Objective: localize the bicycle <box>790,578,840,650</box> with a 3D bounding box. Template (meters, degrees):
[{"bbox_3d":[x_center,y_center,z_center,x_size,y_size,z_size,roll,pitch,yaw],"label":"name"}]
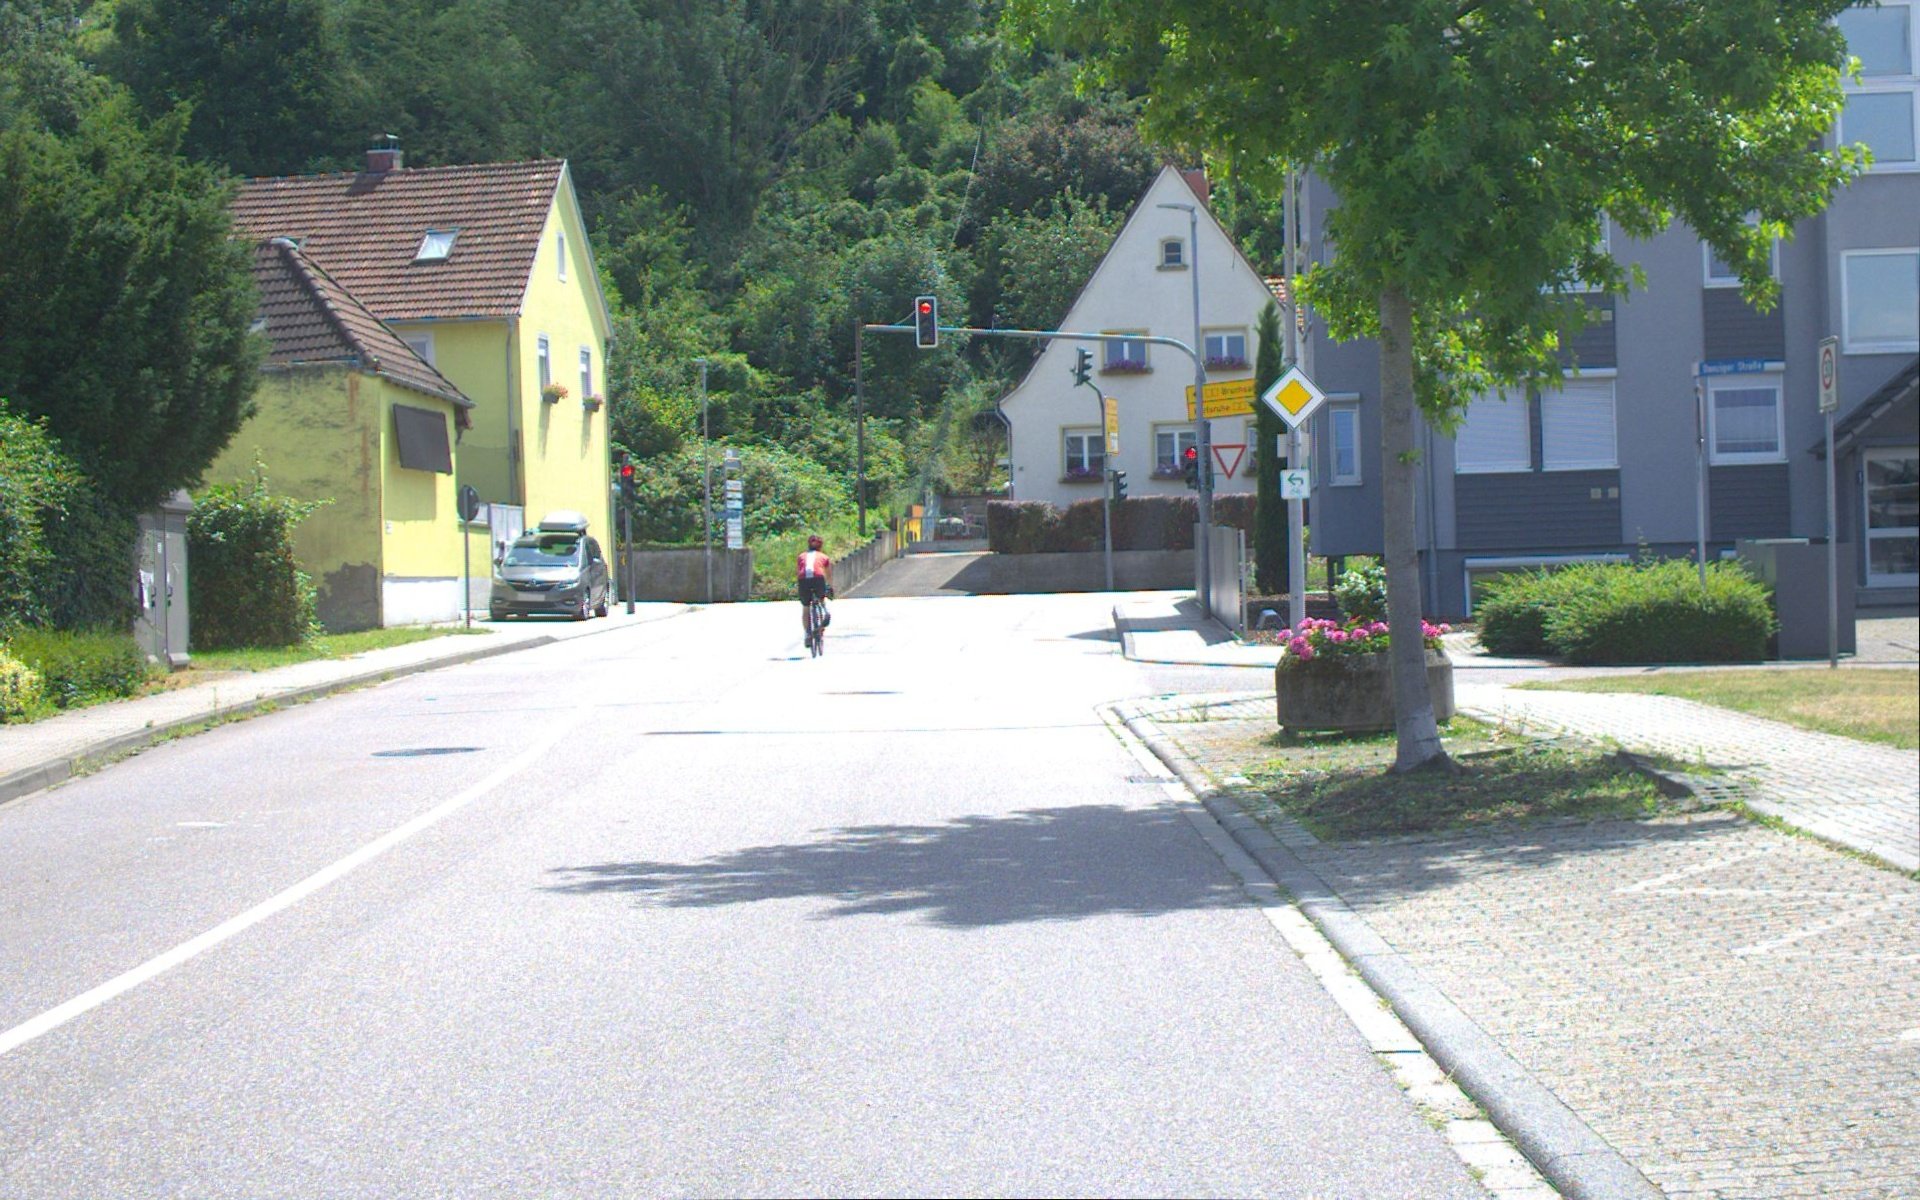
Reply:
[{"bbox_3d":[-1.885,0.170,44.873,0.630,0.902,1.657,0,1,-2],"label":"bicycle"}]

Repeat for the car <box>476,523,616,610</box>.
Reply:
[{"bbox_3d":[-7.963,-0.672,66.473,1.993,1.630,4.630,0,1,2],"label":"car"}]

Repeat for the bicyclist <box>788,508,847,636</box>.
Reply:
[{"bbox_3d":[-1.853,-0.369,44.787,0.760,1.659,0.869,0,1,-1],"label":"bicyclist"}]
